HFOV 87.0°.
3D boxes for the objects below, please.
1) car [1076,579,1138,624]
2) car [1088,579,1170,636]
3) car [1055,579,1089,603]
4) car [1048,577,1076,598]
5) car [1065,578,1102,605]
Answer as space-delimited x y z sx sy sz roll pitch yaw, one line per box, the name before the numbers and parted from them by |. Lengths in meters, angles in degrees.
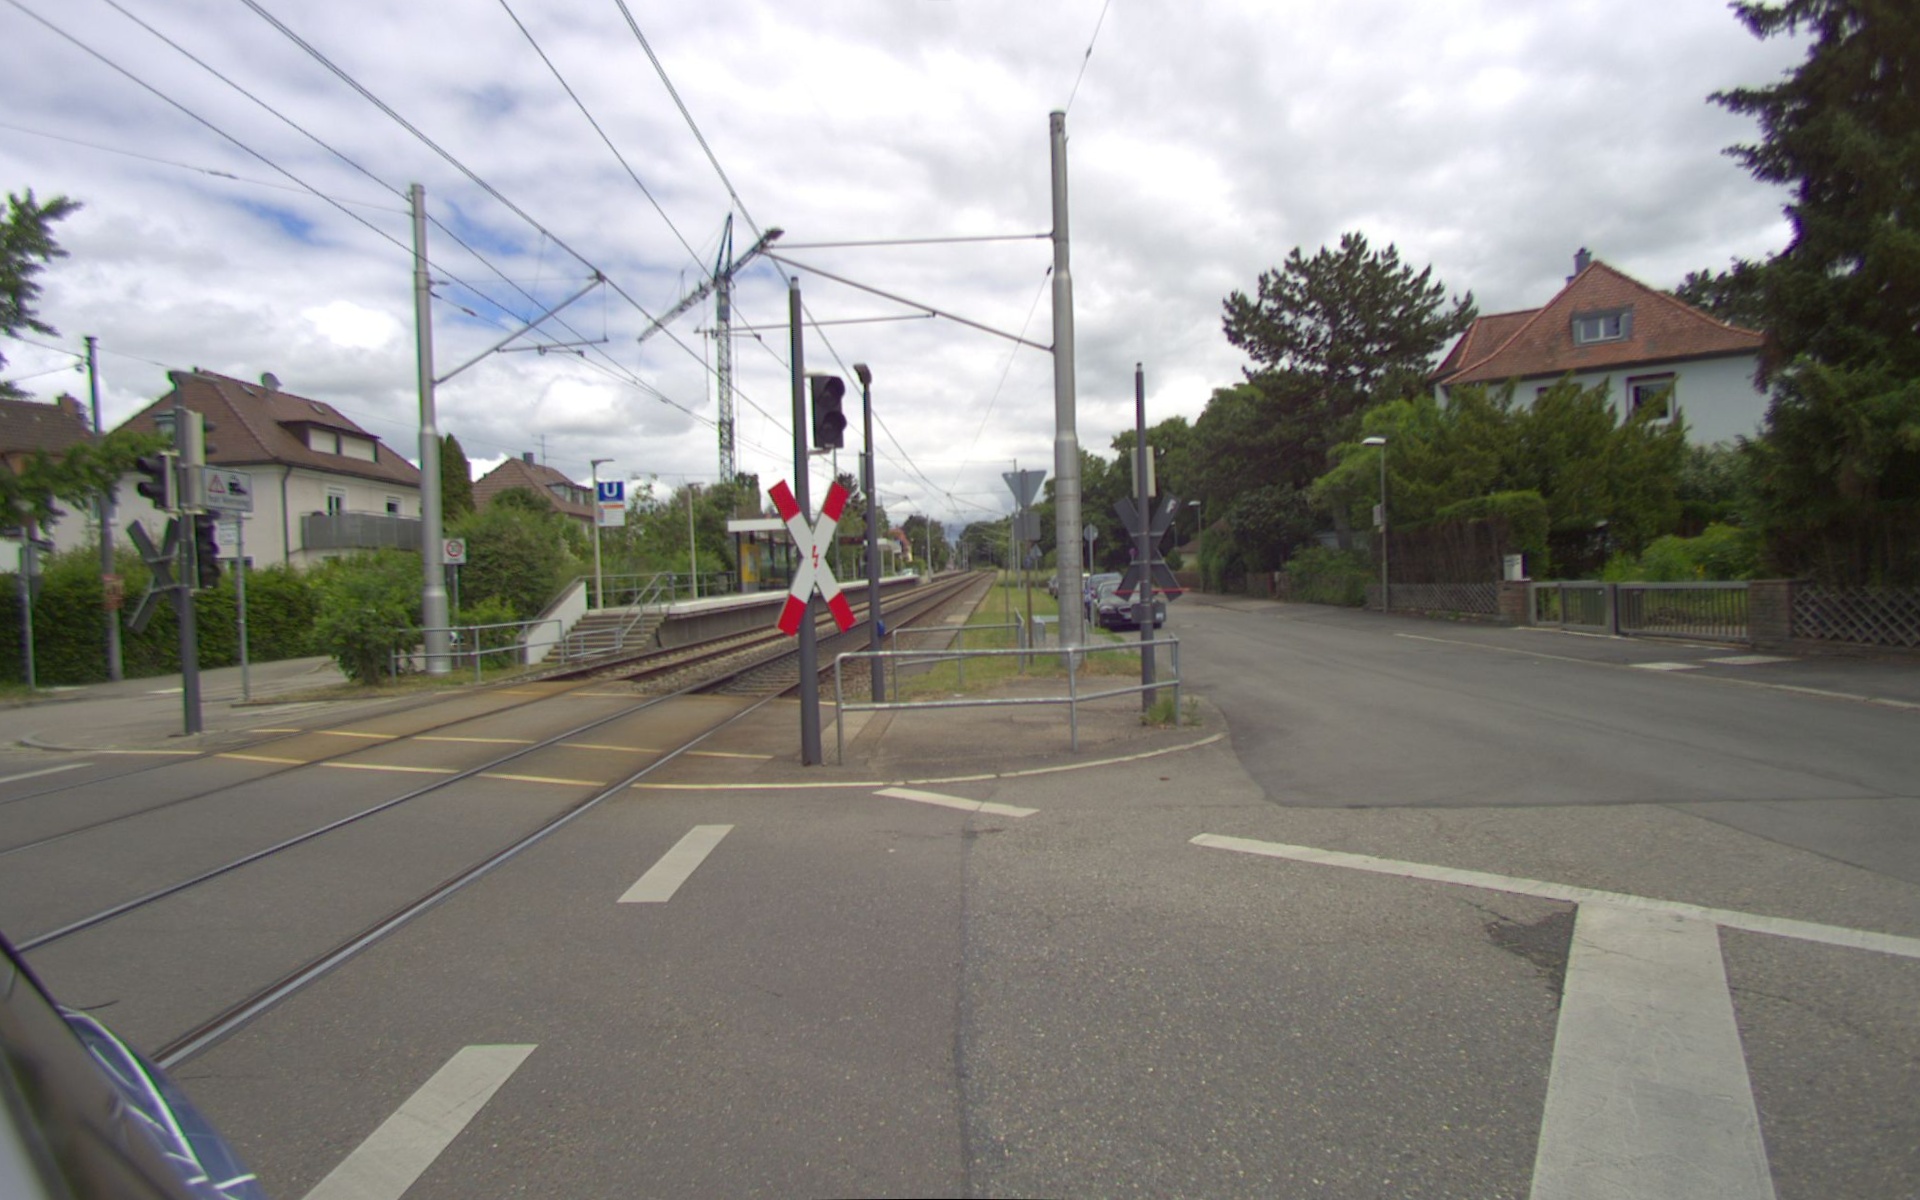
car | 5.315 0.023 37.027 1.831 1.492 3.996 -3 1 3
car | 5.031 0.187 30.700 1.798 1.512 4.118 -3 1 1
car | 7.003 -0.561 63.570 1.831 1.386 3.996 -3 1 3
car | 7.555 -0.931 75.342 1.831 1.386 3.996 -3 1 3
car | 7.107 -0.495 58.604 1.831 1.386 3.996 -3 1 3
